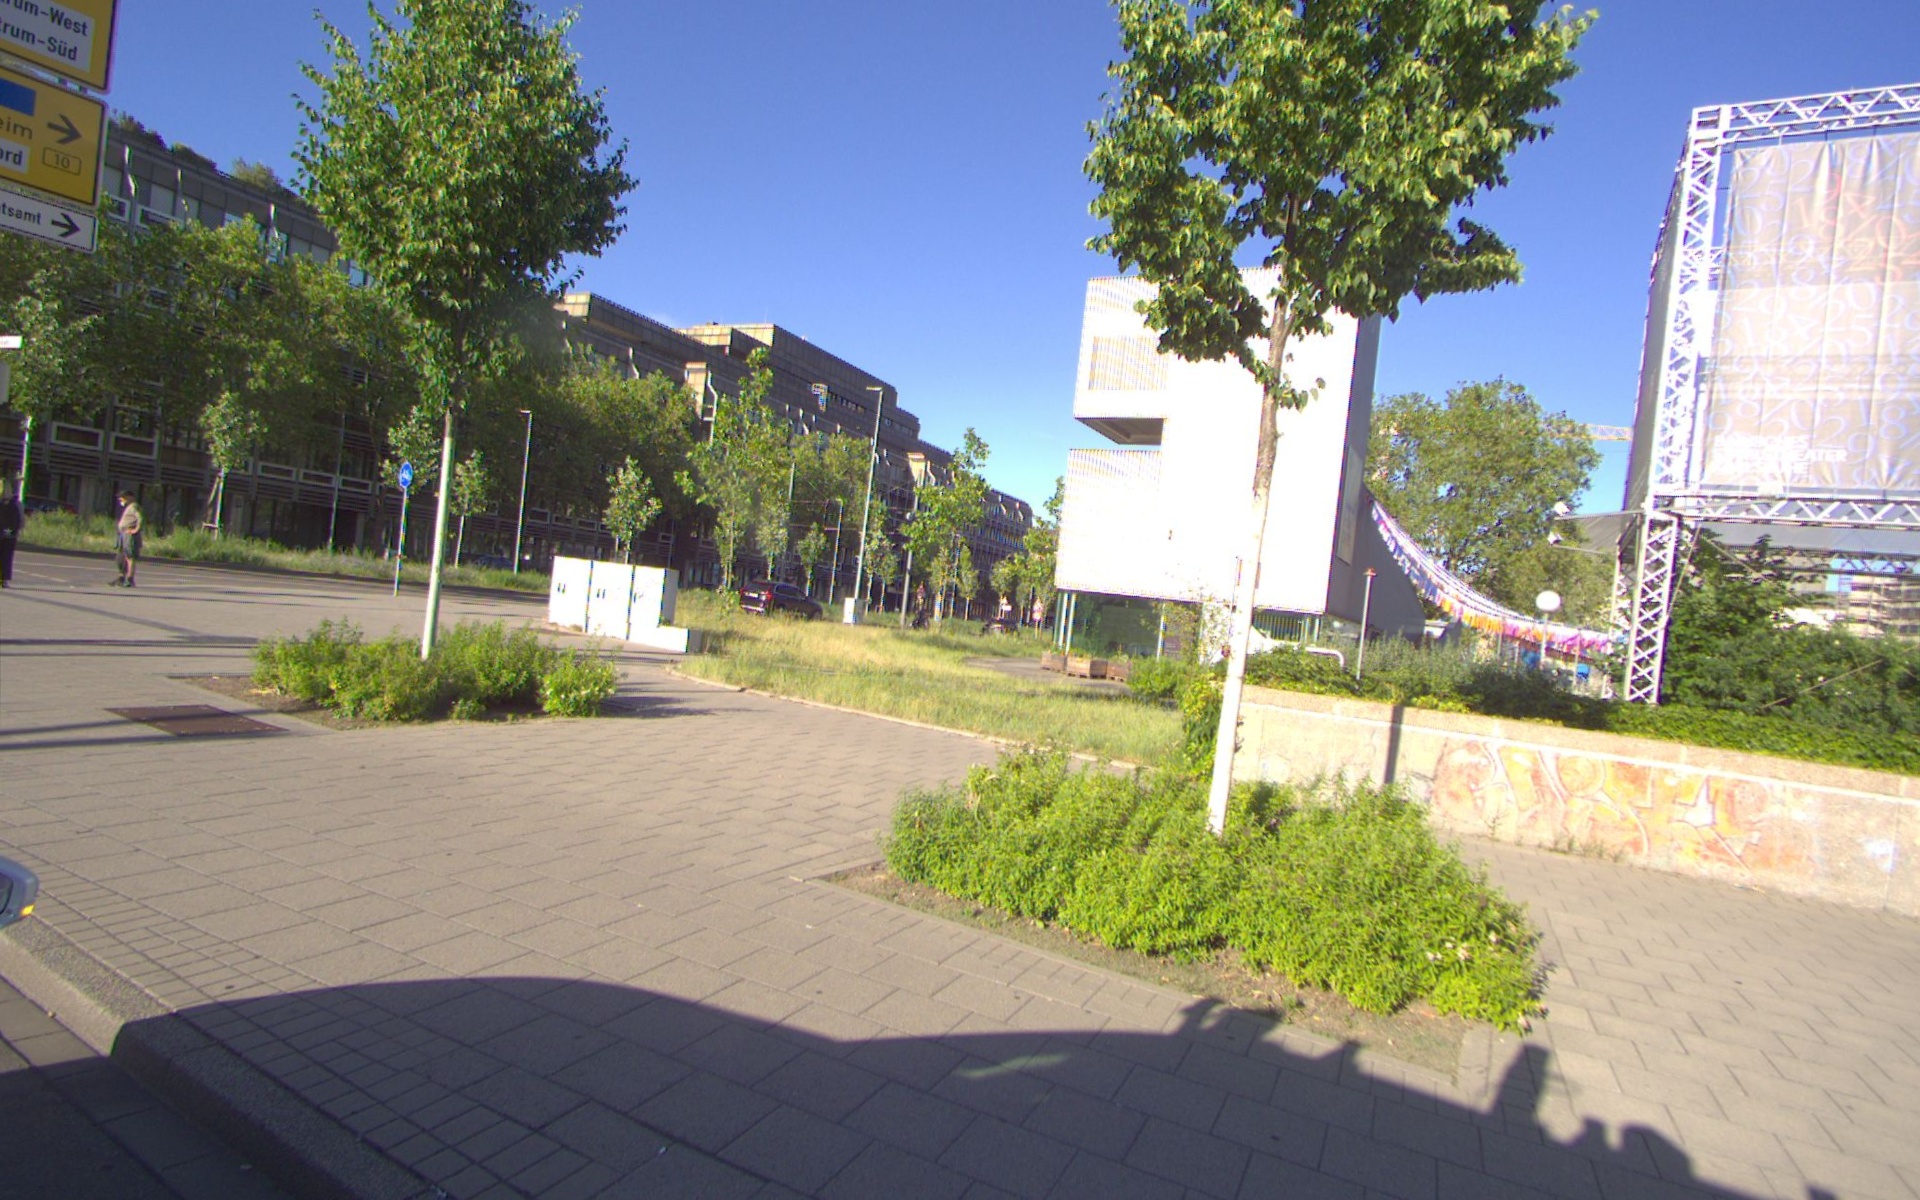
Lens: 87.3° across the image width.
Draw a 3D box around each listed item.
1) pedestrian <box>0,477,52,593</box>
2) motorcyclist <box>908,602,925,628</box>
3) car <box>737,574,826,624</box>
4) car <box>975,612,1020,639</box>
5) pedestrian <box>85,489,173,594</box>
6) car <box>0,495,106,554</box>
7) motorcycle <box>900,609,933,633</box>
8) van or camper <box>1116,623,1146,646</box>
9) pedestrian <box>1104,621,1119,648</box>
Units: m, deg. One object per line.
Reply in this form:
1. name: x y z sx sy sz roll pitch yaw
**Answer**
1. pedestrian: -14.162 -0.983 14.871 0.859 1.634 0.767 7 1 30
2. motorcyclist: -2.562 0.907 59.444 0.636 1.441 0.658 8 1 24
3. car: -8.230 -0.017 46.946 1.851 1.886 4.833 7 -1 18
4. car: 2.684 1.819 71.290 1.642 1.528 3.871 7 -1 25
5. pedestrian: -14.852 -1.037 17.985 0.755 1.728 0.873 7 1 30
6. car: -33.245 -2.770 35.518 1.792 1.704 4.302 7 0 21
7. motorcycle: -2.544 1.250 59.616 0.716 1.223 2.602 8 0 24
8. van or camper: 17.157 3.494 100.775 1.969 2.038 4.844 7 -1 19
9. pedestrian: 9.198 2.120 61.255 0.520 1.571 0.638 6 -1 31
